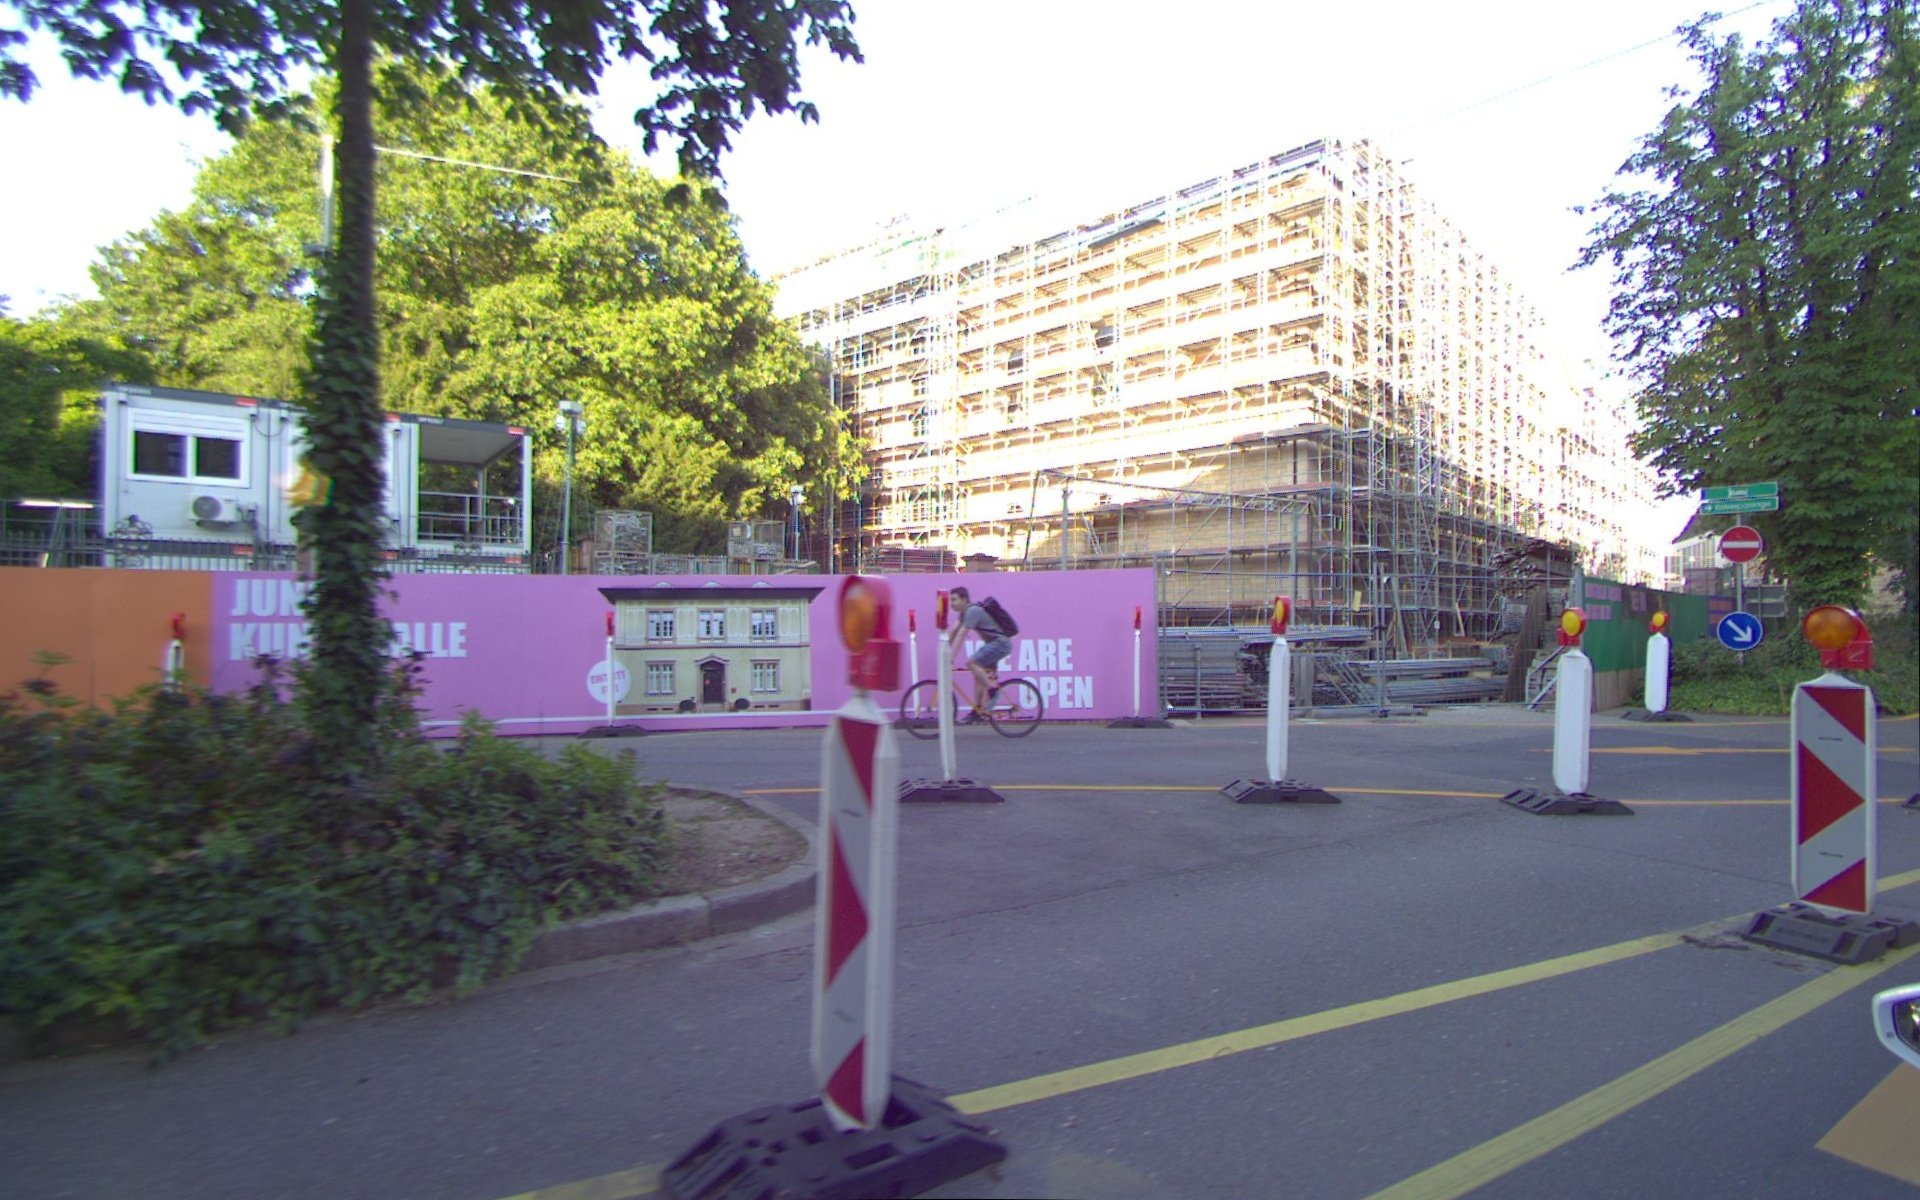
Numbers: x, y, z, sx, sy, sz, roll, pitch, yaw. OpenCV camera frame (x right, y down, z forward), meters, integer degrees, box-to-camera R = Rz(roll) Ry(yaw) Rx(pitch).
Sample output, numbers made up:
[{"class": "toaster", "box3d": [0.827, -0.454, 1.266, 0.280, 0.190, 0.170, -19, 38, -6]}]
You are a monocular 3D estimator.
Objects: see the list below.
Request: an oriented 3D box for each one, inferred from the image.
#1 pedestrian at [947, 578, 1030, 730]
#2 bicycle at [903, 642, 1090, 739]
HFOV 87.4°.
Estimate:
[{"class": "pedestrian", "box3d": [0.312, 0.609, 11.562, 0.878, 1.696, 0.737, 0, -1, -4]}, {"class": "bicycle", "box3d": [0.390, 1.026, 11.554, 2.080, 1.051, 0.763, 0, -1, -4]}]
